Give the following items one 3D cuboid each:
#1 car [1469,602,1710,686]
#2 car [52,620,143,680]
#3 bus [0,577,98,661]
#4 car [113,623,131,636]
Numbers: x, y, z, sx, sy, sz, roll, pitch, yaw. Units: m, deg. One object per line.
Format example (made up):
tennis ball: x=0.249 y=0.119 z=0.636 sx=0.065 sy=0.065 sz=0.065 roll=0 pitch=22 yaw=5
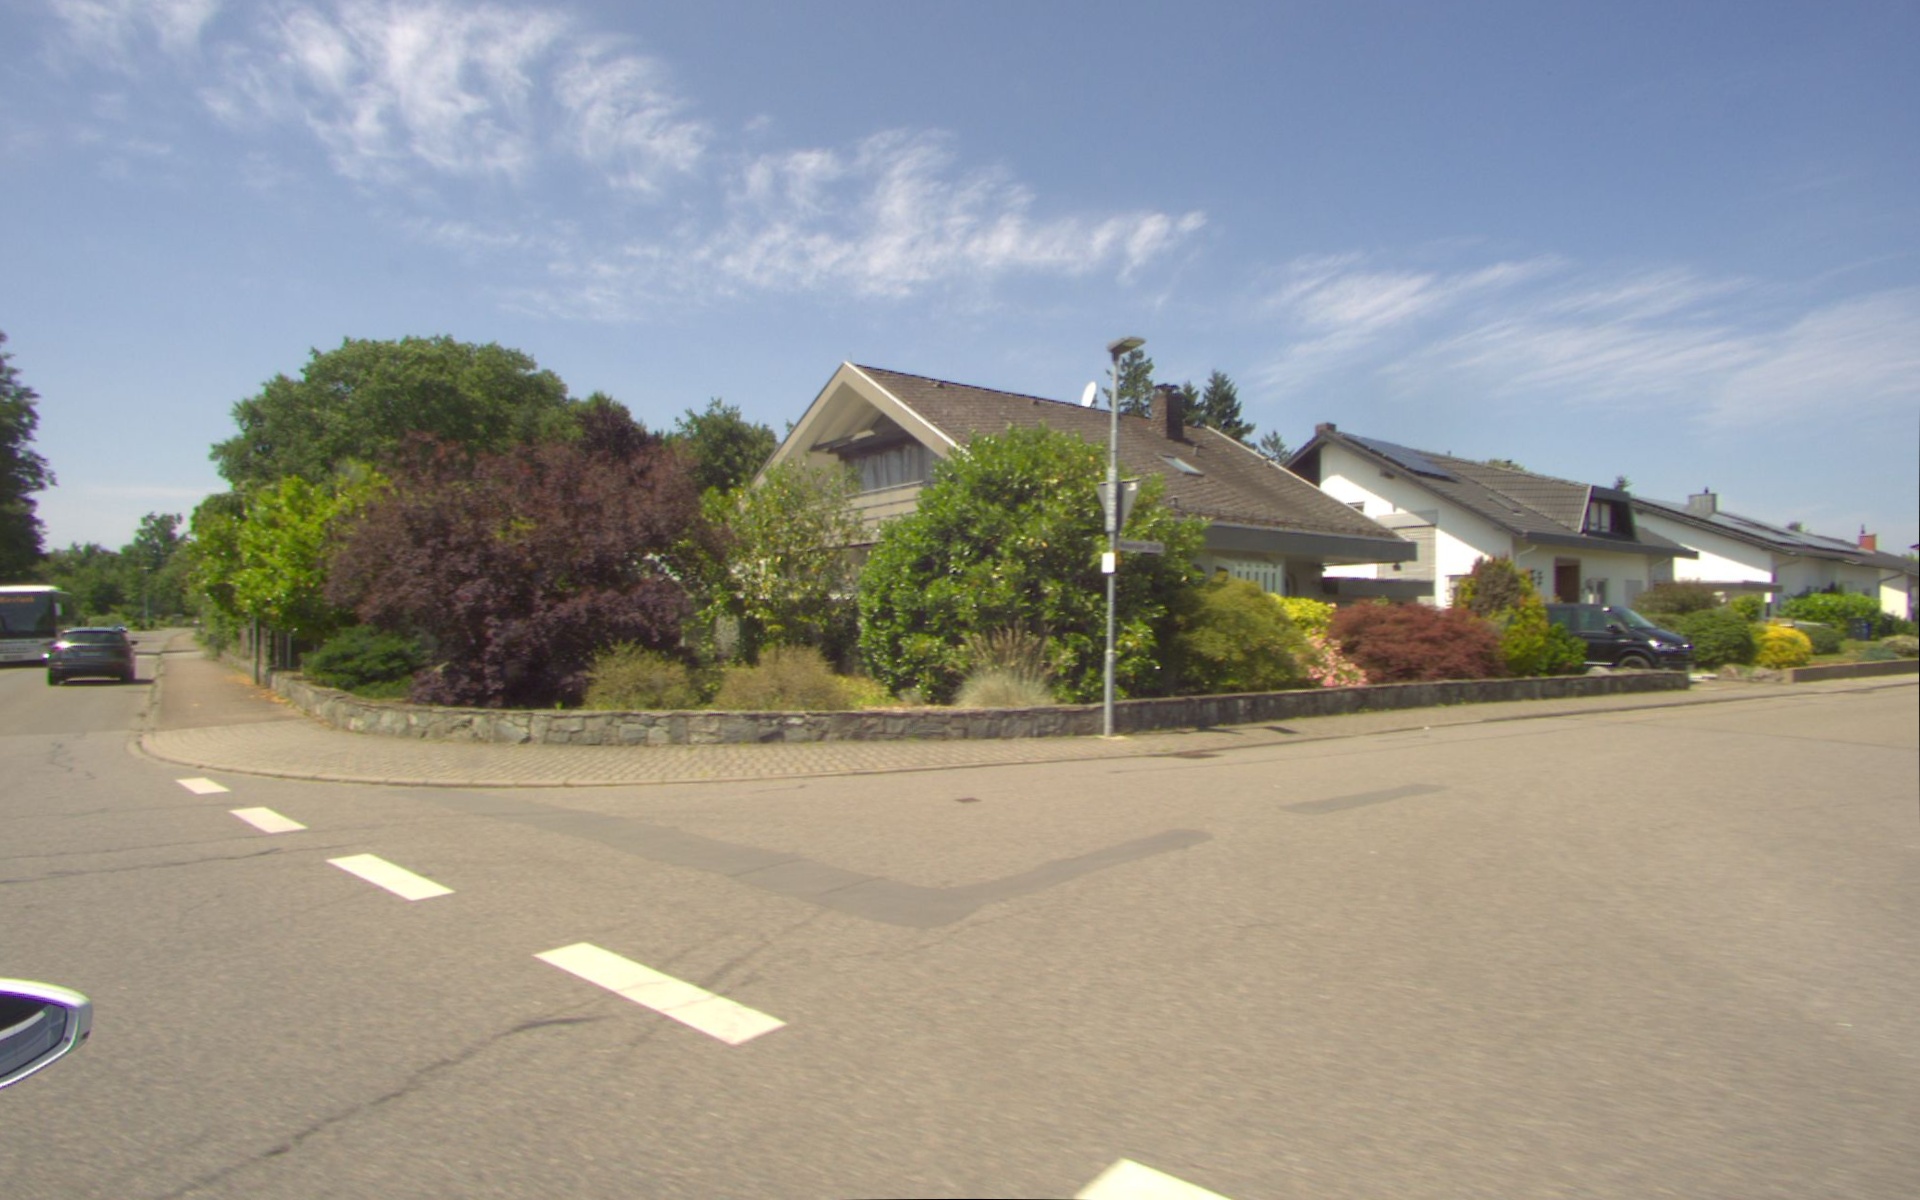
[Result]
car: x=16.049 y=1.068 z=25.800 sx=1.905 sy=1.940 sz=4.929 roll=0 pitch=-1 yaw=-37
car: x=-25.193 y=1.451 z=29.373 sx=1.747 sy=1.638 sz=3.971 roll=2 pitch=-3 yaw=-37
bus: x=-40.631 y=0.859 z=44.059 sx=3.153 sy=3.286 sz=12.620 roll=0 pitch=-1 yaw=-36
car: x=-124.543 y=4.354 z=148.760 sx=1.937 sy=1.884 sz=3.964 roll=0 pitch=-1 yaw=-42
